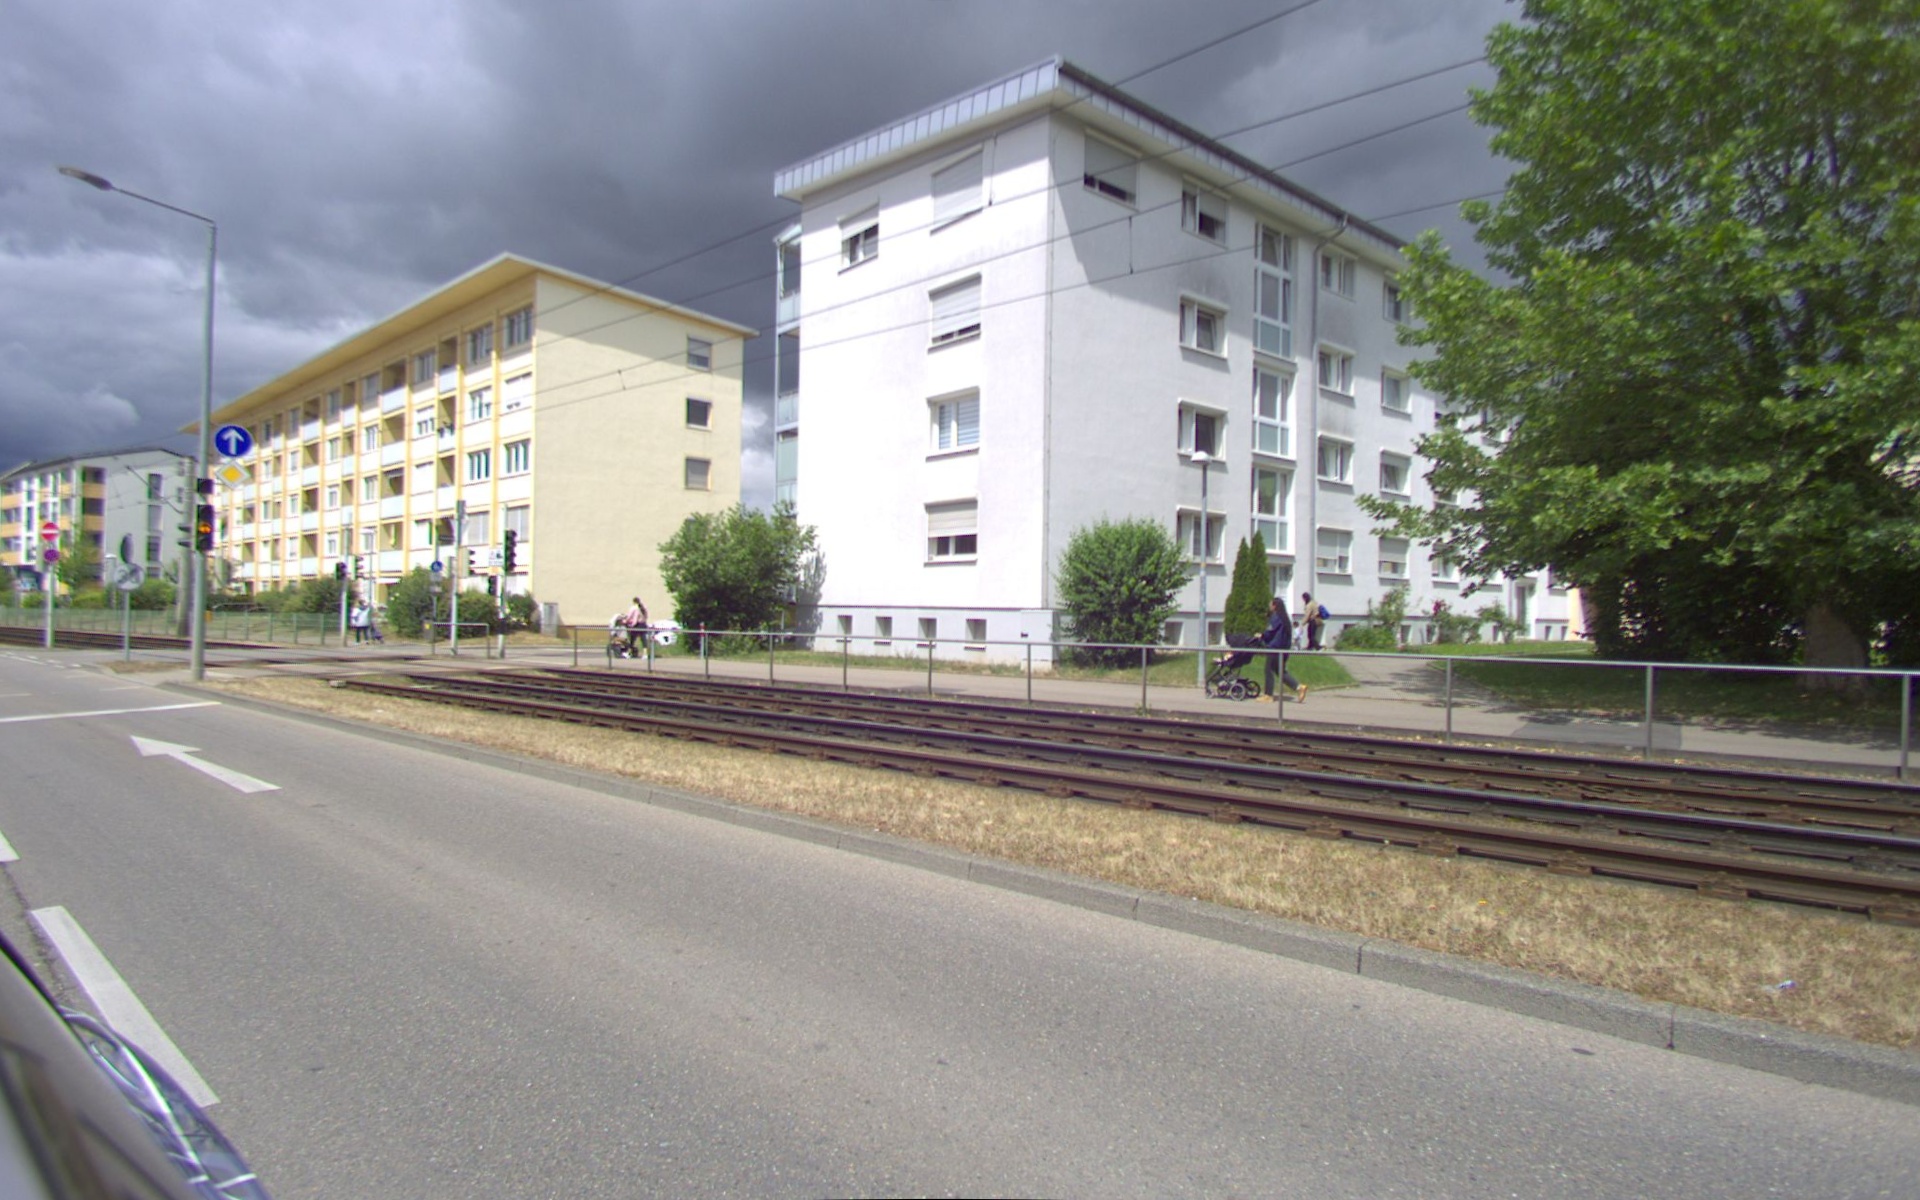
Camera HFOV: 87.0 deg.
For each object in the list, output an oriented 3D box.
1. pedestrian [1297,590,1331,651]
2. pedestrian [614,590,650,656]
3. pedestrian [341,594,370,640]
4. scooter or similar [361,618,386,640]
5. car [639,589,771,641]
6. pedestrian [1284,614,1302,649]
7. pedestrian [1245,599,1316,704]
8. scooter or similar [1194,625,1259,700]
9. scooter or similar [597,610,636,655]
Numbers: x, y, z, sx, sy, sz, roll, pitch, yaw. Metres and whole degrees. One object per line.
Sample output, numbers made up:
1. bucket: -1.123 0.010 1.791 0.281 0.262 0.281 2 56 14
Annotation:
1. pedestrian: 9.453 0.536 27.026 0.675 1.553 0.515 -1 6 -44
2. pedestrian: -8.539 0.592 26.377 0.679 1.705 0.638 0 0 41
3. pedestrian: -21.391 0.592 35.817 0.773 1.619 0.598 0 -2 39
4. scooter or similar: -20.834 1.027 35.953 0.665 0.779 0.527 0 -2 39
5. car: -9.022 0.528 36.065 4.227 1.742 1.811 1 0 -44
6. pedestrian: 8.827 0.829 26.822 0.325 0.889 0.256 -1 5 -39
7. pedestrian: 4.878 0.760 15.415 0.873 1.552 0.607 0 0 39
8. scooter or similar: 4.208 0.963 15.962 0.820 1.123 0.598 0 0 39
9. scooter or similar: -9.132 0.851 26.909 0.891 1.172 0.602 0 0 41
